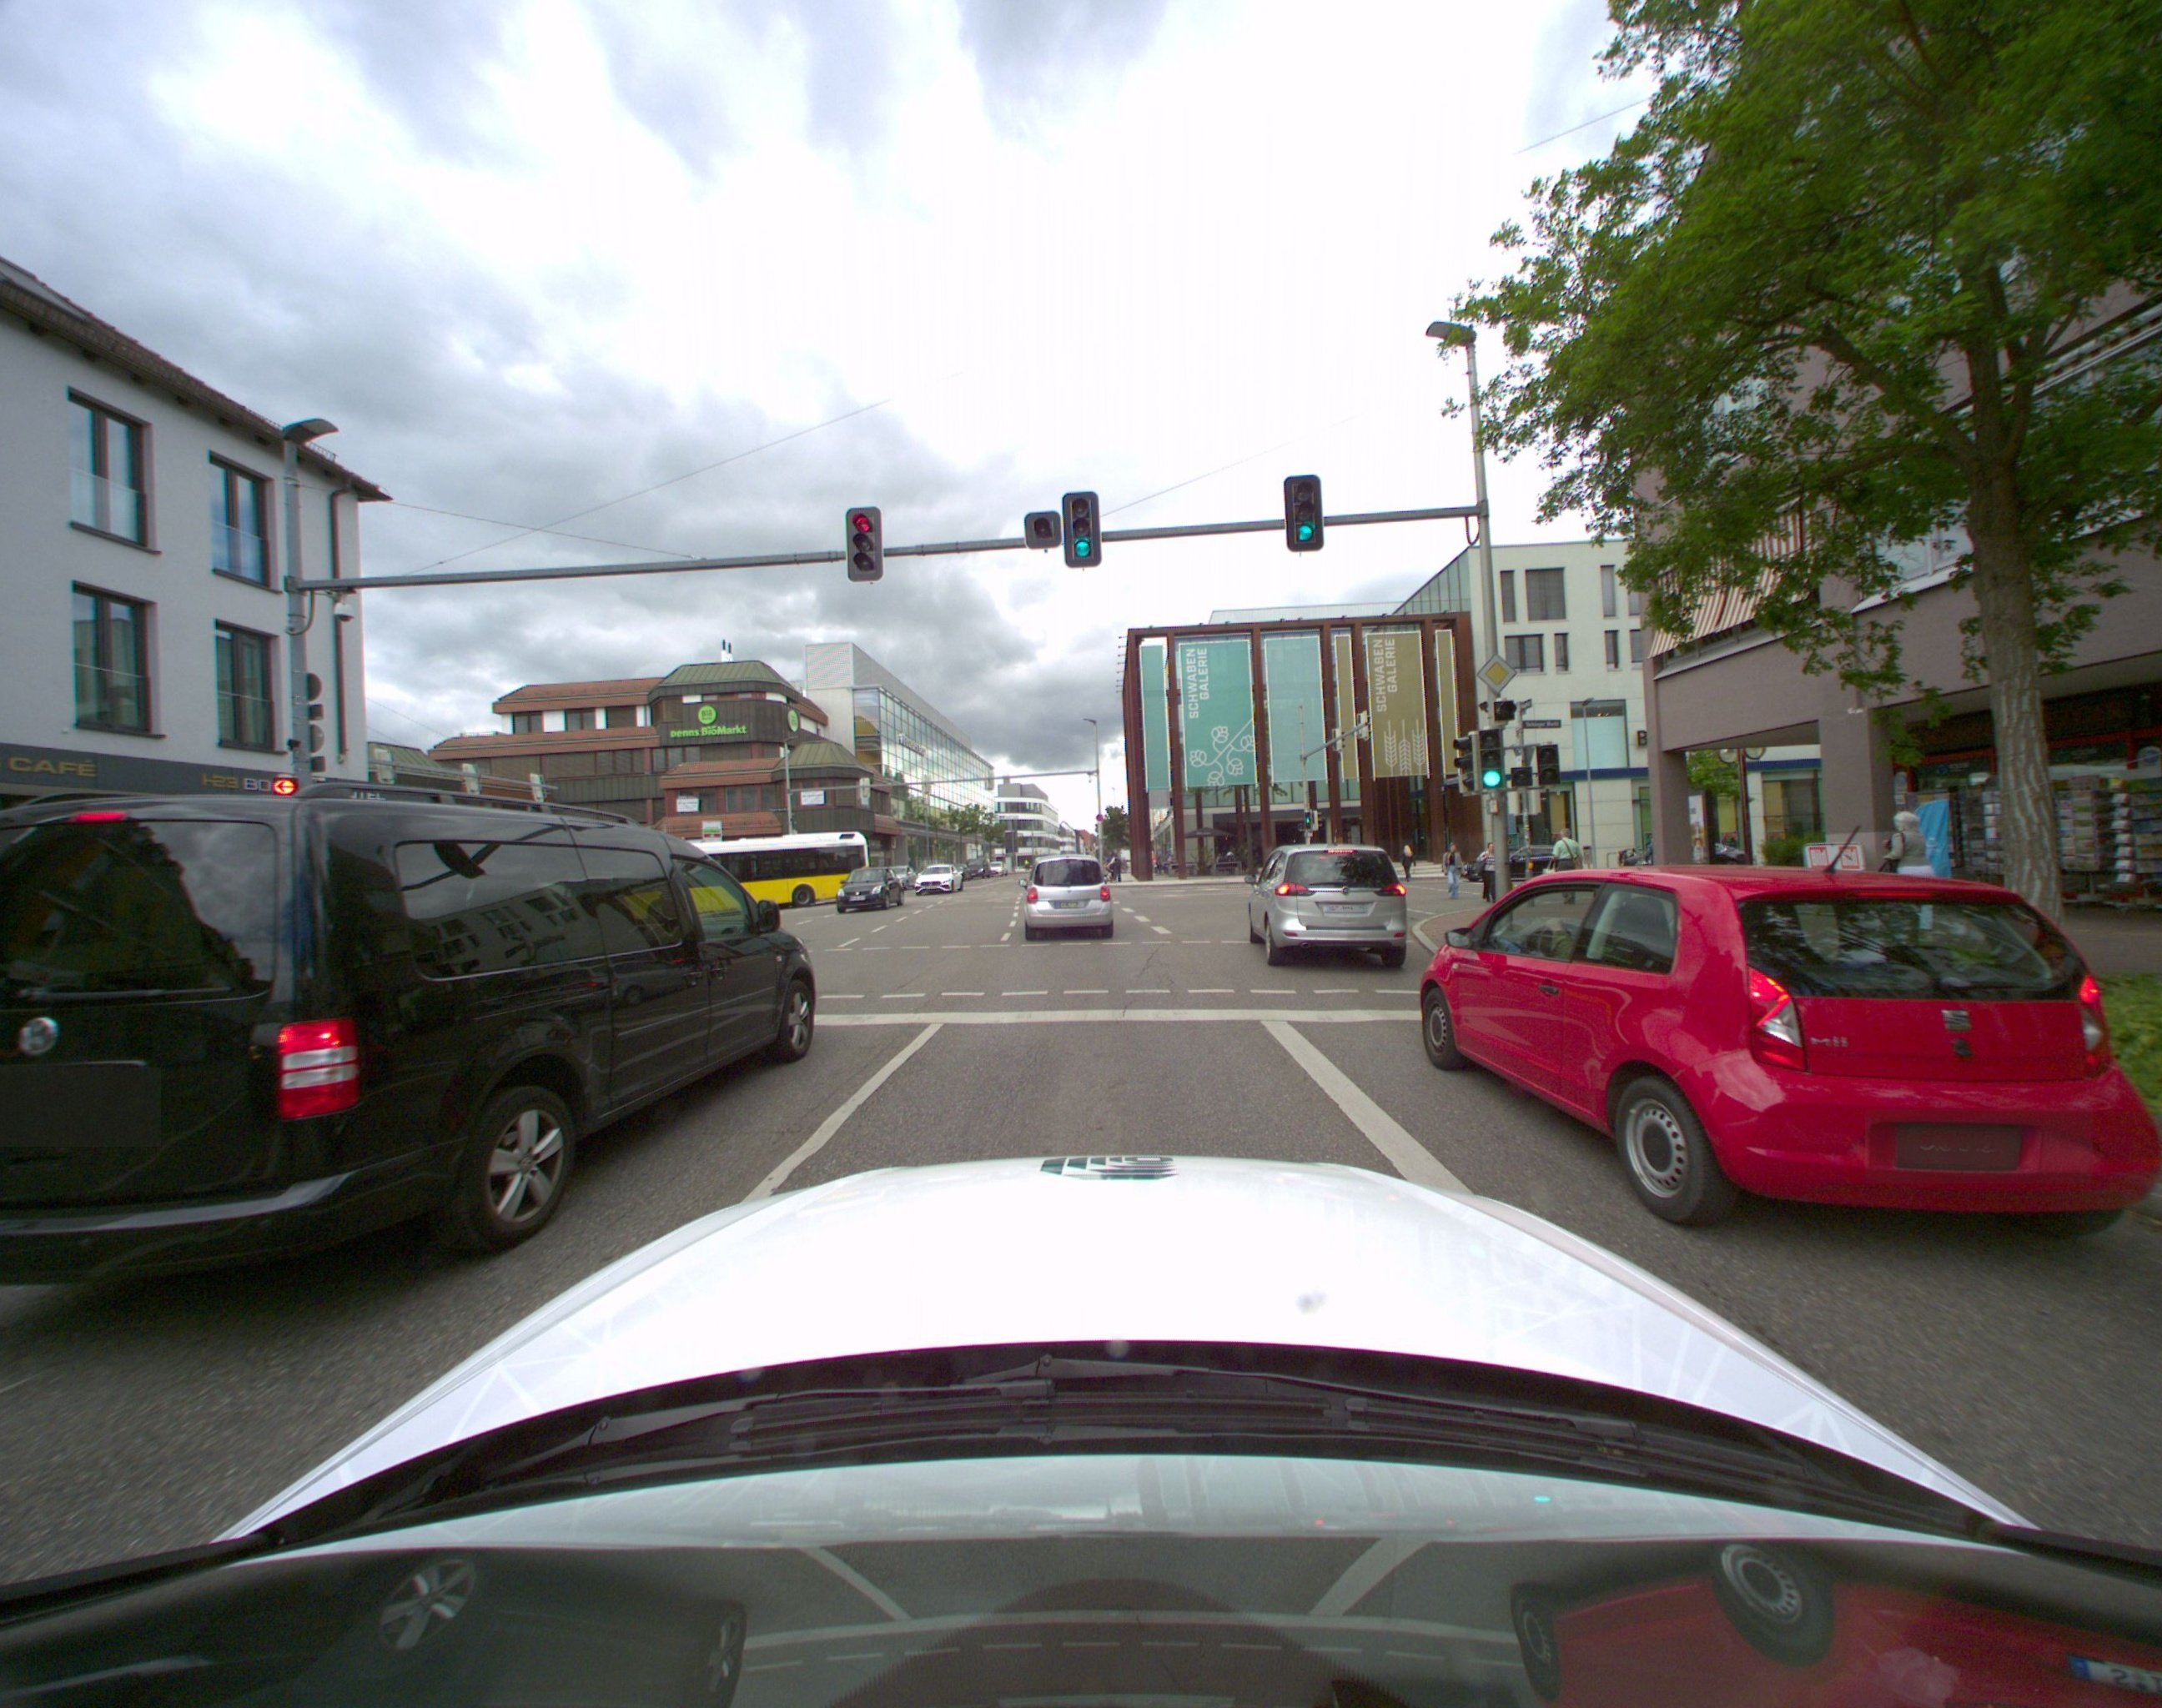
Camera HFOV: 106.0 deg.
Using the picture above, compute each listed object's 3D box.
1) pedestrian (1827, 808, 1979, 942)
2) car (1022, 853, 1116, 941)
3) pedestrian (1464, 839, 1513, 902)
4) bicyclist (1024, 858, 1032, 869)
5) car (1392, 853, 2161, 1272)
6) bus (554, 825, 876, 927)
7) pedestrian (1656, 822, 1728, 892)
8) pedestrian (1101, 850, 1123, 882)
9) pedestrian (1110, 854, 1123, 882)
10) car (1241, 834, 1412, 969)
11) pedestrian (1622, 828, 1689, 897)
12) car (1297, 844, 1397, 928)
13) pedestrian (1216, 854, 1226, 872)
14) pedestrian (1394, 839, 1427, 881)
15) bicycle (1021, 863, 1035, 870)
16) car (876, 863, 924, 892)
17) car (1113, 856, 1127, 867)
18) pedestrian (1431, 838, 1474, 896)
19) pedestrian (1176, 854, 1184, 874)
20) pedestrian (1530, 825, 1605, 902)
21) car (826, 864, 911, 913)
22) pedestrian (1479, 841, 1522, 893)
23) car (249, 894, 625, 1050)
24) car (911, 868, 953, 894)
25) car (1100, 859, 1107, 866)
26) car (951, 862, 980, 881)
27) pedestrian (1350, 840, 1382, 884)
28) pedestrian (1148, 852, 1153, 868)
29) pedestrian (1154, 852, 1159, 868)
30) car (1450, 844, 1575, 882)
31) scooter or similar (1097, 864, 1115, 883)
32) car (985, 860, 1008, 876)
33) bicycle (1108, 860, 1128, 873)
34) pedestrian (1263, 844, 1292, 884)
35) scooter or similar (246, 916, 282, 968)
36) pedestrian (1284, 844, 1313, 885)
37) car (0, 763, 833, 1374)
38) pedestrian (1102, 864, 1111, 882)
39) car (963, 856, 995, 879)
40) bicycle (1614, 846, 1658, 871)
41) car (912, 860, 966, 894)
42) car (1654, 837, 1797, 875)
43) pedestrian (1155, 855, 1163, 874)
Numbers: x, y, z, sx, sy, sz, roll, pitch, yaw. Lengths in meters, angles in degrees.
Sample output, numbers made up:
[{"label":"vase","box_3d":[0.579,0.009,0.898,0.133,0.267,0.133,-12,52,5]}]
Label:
[{"label":"pedestrian","box_3d":[10.709,0.257,10.657,0.806,1.626,1.093,-3,0,0]},{"label":"car","box_3d":[-0.212,0.764,16.377,1.664,1.554,3.641,-1,0,0]},{"label":"pedestrian","box_3d":[10.974,0.438,21.964,0.739,1.626,0.953,-3,0,-1]},{"label":"bicyclist","box_3d":[-8.098,1.444,123.918,1.011,1.660,0.925,0,-1,-25]},{"label":"car","box_3d":[3.223,0.732,4.658,1.620,1.448,3.644,-1,0,2]},{"label":"bus","box_3d":[-15.260,0.752,35.451,2.959,3.327,12.382,-5,0,44]},{"label":"pedestrian","box_3d":[14.501,0.072,19.358,0.828,1.584,1.058,-2,0,-2]},{"label":"pedestrian","box_3d":[1.644,0.635,42.992,0.861,1.646,0.685,-2,0,36]},{"label":"pedestrian","box_3d":[1.818,0.705,41.715,0.598,1.420,0.583,-2,0,4]},{"label":"car","box_3d":[3.519,0.607,12.459,1.730,1.701,4.388,-1,0,6]},{"label":"pedestrian","box_3d":[13.595,0.199,19.295,0.828,1.558,0.968,-2,-1,-2]},{"label":"car","box_3d":[6.060,0.607,18.241,1.835,1.609,4.886,-1,0,21]},{"label":"pedestrian","box_3d":[9.506,0.616,55.195,0.513,1.208,0.795,-3,1,0]},{"label":"pedestrian","box_3d":[14.403,0.278,35.611,0.876,1.767,1.120,-3,0,-1]},{"label":"bicycle","box_3d":[-8.093,1.904,123.923,1.011,1.018,3.104,0,-1,-25]},{"label":"car","box_3d":[-10.681,1.357,48.372,1.628,1.418,4.202,-5,1,3]},{"label":"car","box_3d":[5.183,1.005,108.744,1.869,1.335,4.003,-1,0,3]},{"label":"pedestrian","box_3d":[10.867,0.369,23.865,0.739,1.626,0.953,-3,0,-1]},{"label":"pedestrian","box_3d":[6.183,0.635,51.012,0.445,1.220,0.607,-2,-1,6]},{"label":"pedestrian","box_3d":[11.358,0.226,19.066,1.052,1.715,1.110,-2,0,1]},{"label":"car","box_3d":[-7.314,1.152,28.437,1.737,1.459,3.820,-3,0,2]},{"label":"pedestrian","box_3d":[13.404,0.401,26.069,0.818,1.595,1.040,-2,0,2]},{"label":"car","box_3d":[-8.460,1.444,11.274,1.861,1.486,4.002,-3,0,2]},{"label":"car","box_3d":[-10.485,1.859,57.663,1.750,1.517,4.393,-4,0,5]},{"label":"car","box_3d":[5.323,2.072,192.529,1.653,1.465,4.003,-4,0,3]},{"label":"car","box_3d":[-9.365,1.397,66.310,1.696,1.443,4.000,-2,0,0]},{"label":"pedestrian","box_3d":[11.922,0.329,34.120,0.876,1.767,1.120,-3,0,-1]},{"label":"pedestrian","box_3d":[7.161,0.630,83.502,0.425,1.549,0.481,-3,-1,0]},{"label":"pedestrian","box_3d":[7.708,0.621,83.465,0.425,1.549,0.481,-3,-1,0]},{"label":"car","box_3d":[17.628,0.361,33.374,4.160,1.404,1.800,-2,0,-1]},{"label":"scooter or similar","box_3d":[1.314,1.000,42.436,0.626,0.961,0.625,-3,-1,36]},{"label":"car","box_3d":[-8.560,1.405,82.637,1.653,1.465,4.003,-4,0,3]},{"label":"bicycle","box_3d":[2.949,0.980,64.672,1.553,0.992,0.753,-3,0,5]},{"label":"pedestrian","box_3d":[8.415,0.421,34.923,0.876,1.681,1.120,-3,0,-1]},{"label":"scooter or similar","box_3d":[-19.481,2.086,19.442,0.428,1.159,1.556,-2,-3,-39]},{"label":"pedestrian","box_3d":[9.378,0.451,35.088,0.876,1.681,1.120,-3,0,-1]},{"label":"car","box_3d":[-3.070,0.652,4.731,1.701,1.820,4.573,-1,0,2]},{"label":"pedestrian","box_3d":[1.309,0.982,41.739,0.360,0.924,0.455,-2,0,4]},{"label":"car","box_3d":[-9.329,1.212,74.690,1.857,1.909,5.118,-4,0,3]},{"label":"bicycle","box_3d":[26.075,0.216,38.328,0.716,1.102,1.993,-3,0,2]},{"label":"car","box_3d":[-7.028,1.117,40.696,1.737,1.459,4.237,-3,0,2]},{"label":"car","box_3d":[26.707,0.064,33.854,4.520,1.404,1.800,-2,0,0]},{"label":"pedestrian","box_3d":[4.867,0.654,51.129,0.445,1.220,0.607,-2,-1,5]}]
